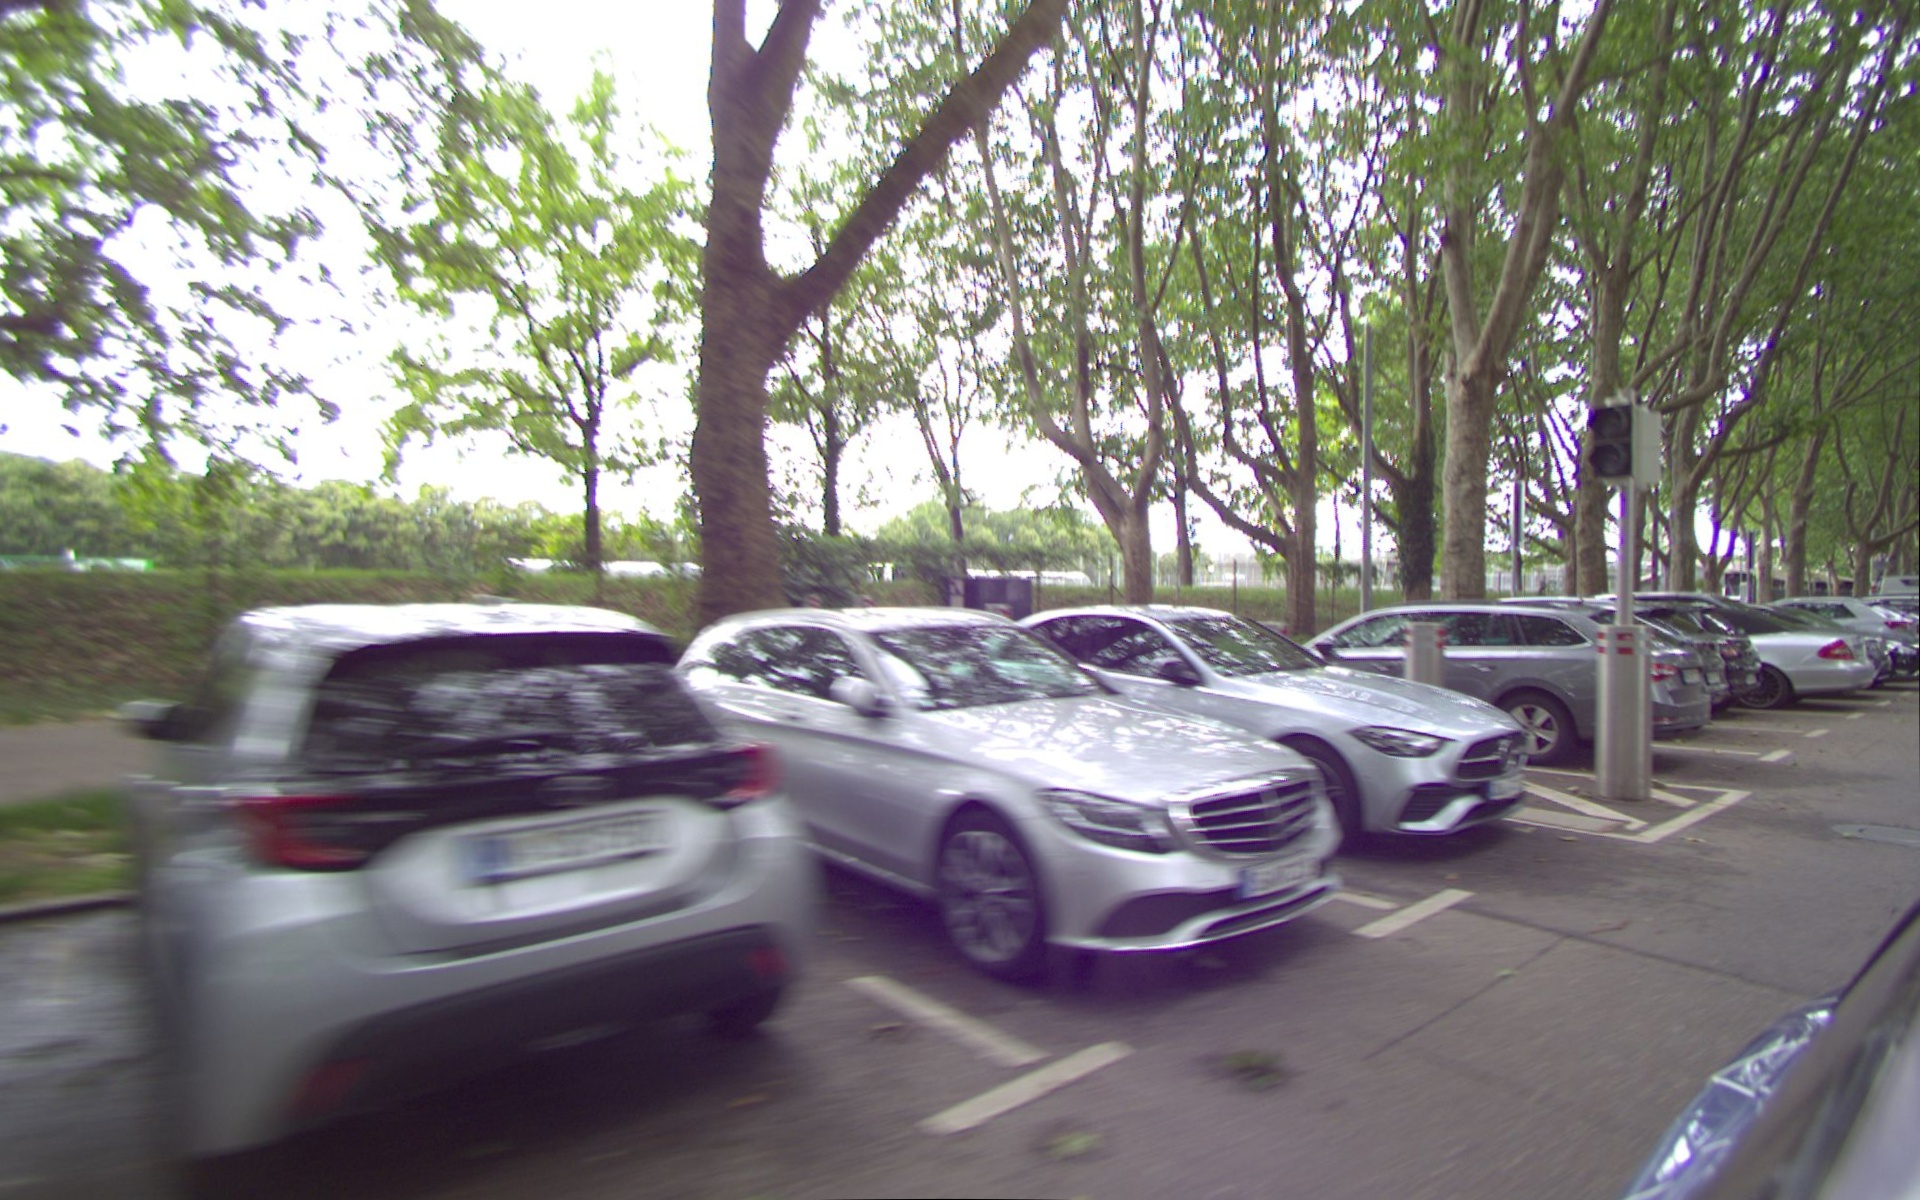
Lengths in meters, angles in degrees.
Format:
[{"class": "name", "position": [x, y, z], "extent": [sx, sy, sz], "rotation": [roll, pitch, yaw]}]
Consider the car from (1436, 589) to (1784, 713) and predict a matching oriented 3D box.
[{"class": "car", "position": [8.916, 0.634, 14.137], "extent": [1.594, 1.488, 3.784], "rotation": [0, -1, -39]}]

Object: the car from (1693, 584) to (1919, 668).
[{"class": "car", "position": [18.161, 0.524, 21.578], "extent": [1.665, 1.628, 3.832], "rotation": [0, -1, -42]}]

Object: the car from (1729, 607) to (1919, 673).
[{"class": "car", "position": [20.207, 0.877, 23.230], "extent": [1.665, 1.406, 3.832], "rotation": [0, -1, -42]}]

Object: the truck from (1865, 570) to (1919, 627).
[{"class": "truck", "position": [47.563, -0.078, 48.260], "extent": [2.060, 2.750, 6.307], "rotation": [0, -1, -38]}]

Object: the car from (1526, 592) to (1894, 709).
[{"class": "car", "position": [10.955, 0.661, 15.039], "extent": [1.664, 1.488, 4.121], "rotation": [0, -1, -40]}]

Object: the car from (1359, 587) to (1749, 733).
[{"class": "car", "position": [7.077, 0.632, 12.356], "extent": [1.638, 1.488, 3.782], "rotation": [0, -1, -41]}]

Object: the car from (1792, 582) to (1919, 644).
[{"class": "car", "position": [27.844, 0.386, 30.166], "extent": [1.768, 1.778, 4.395], "rotation": [0, -1, -37]}]

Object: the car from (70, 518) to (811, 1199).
[{"class": "car", "position": [-2.327, 0.598, 3.955], "extent": [1.596, 1.488, 3.778], "rotation": [1, -1, -43]}]

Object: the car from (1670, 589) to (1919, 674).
[{"class": "car", "position": [16.436, 0.564, 19.768], "extent": [1.660, 1.474, 3.843], "rotation": [0, -1, -29]}]

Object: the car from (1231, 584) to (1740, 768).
[{"class": "car", "position": [5.106, 0.634, 10.392], "extent": [1.595, 1.489, 4.373], "rotation": [1, -1, -41]}]

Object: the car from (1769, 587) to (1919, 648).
[{"class": "car", "position": [23.816, 0.446, 26.422], "extent": [1.665, 1.505, 3.992], "rotation": [0, -1, -42]}]

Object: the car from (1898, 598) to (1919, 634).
[{"class": "car", "position": [40.620, 0.570, 40.598], "extent": [1.672, 1.447, 4.128], "rotation": [0, -2, -38]}]

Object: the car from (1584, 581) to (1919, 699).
[{"class": "car", "position": [12.916, 0.595, 16.711], "extent": [1.664, 1.691, 4.121], "rotation": [0, -1, -40]}]

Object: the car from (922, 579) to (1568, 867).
[{"class": "car", "position": [1.702, 0.659, 7.586], "extent": [1.619, 1.488, 4.626], "rotation": [0, -1, -37]}]

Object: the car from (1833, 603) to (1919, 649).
[{"class": "car", "position": [32.730, 0.881, 34.335], "extent": [1.674, 1.545, 4.507], "rotation": [0, -1, -42]}]

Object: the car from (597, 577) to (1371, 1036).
[{"class": "car", "position": [-0.260, 0.689, 5.419], "extent": [1.596, 1.488, 4.300], "rotation": [1, -1, -43]}]

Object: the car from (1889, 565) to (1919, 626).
[{"class": "car", "position": [44.319, -0.220, 44.236], "extent": [1.922, 2.724, 5.238], "rotation": [0, -1, -39]}]

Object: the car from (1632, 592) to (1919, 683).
[{"class": "car", "position": [14.739, 0.618, 18.144], "extent": [1.583, 1.470, 4.217], "rotation": [0, -1, -42]}]
